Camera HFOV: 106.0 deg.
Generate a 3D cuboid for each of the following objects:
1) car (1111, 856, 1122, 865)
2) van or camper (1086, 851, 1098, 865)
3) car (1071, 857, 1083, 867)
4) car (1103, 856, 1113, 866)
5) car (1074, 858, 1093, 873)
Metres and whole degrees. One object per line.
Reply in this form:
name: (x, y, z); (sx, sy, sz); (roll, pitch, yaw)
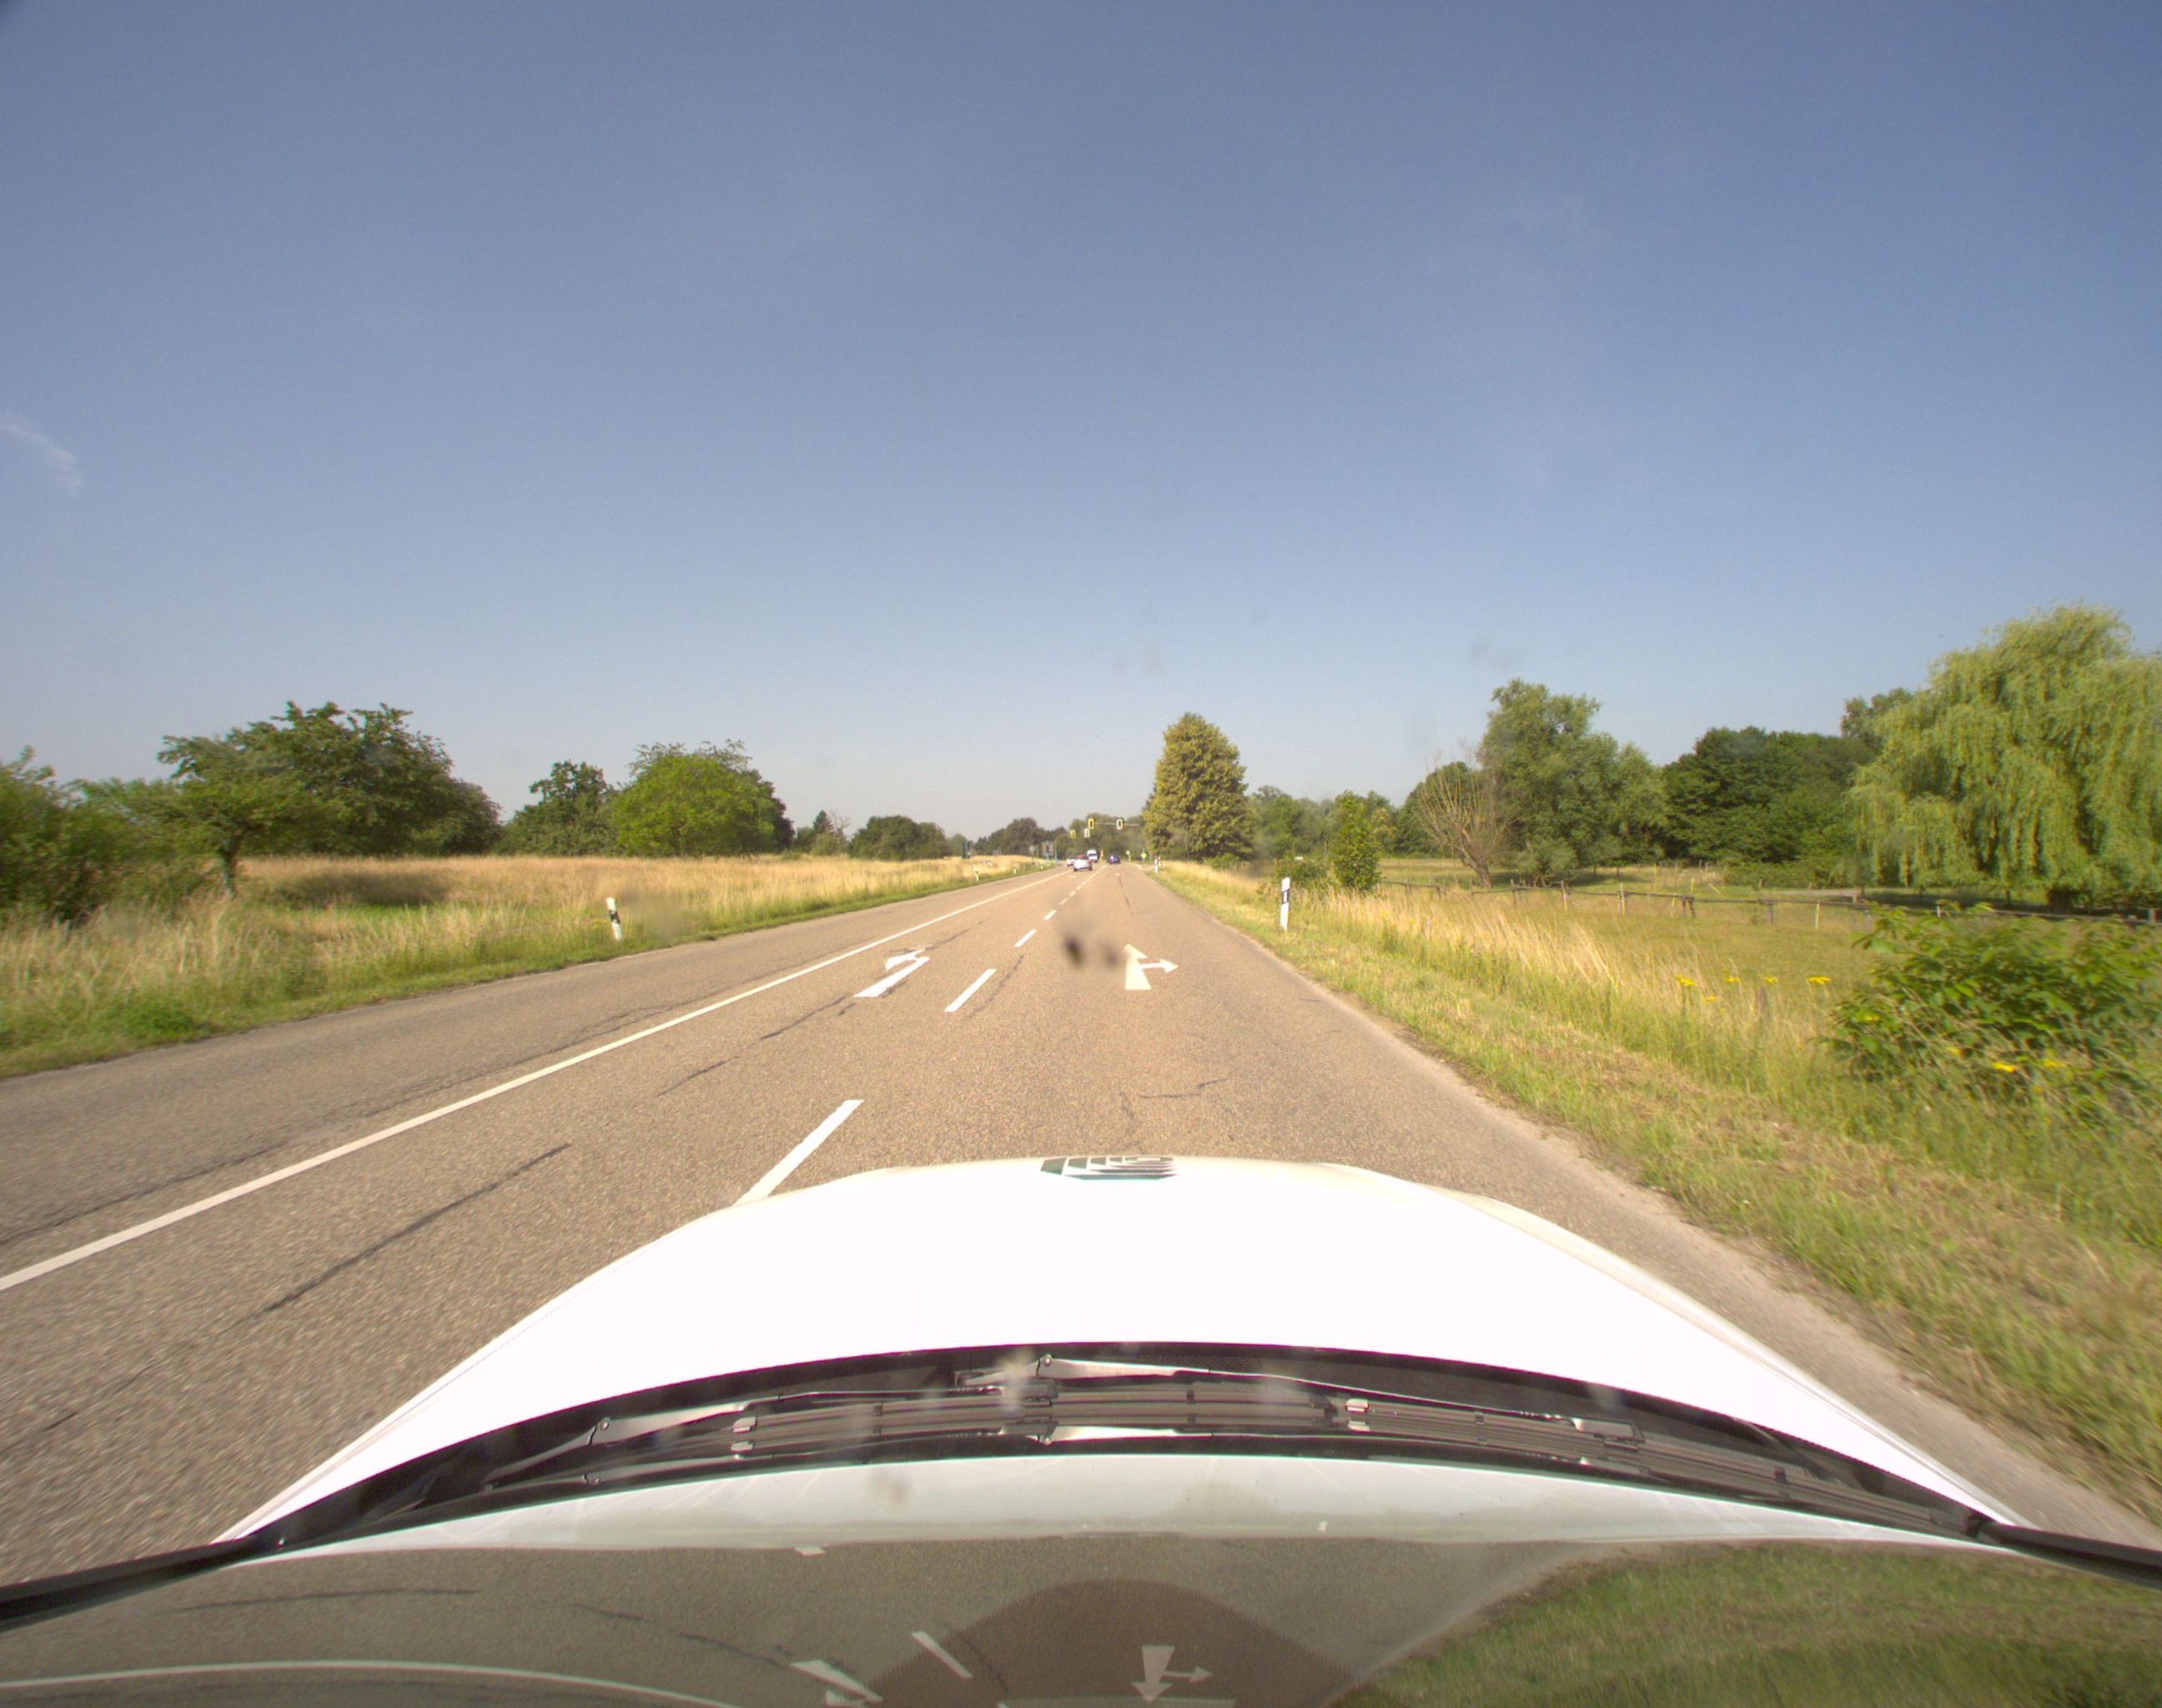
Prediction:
car: (5.845, 1.074, 134.406); (1.809, 1.520, 4.003); (1, 0, 2)
van or camper: (2.235, 0.798, 169.697); (2.255, 2.709, 5.267); (1, 0, 3)
car: (-0.618, 1.321, 139.124); (1.584, 1.728, 4.005); (1, 0, 5)
car: (5.278, 1.419, 160.434); (1.986, 1.816, 4.002); (1, 0, 2)
car: (0.267, 1.175, 84.567); (1.892, 1.512, 4.001); (1, 0, 2)
